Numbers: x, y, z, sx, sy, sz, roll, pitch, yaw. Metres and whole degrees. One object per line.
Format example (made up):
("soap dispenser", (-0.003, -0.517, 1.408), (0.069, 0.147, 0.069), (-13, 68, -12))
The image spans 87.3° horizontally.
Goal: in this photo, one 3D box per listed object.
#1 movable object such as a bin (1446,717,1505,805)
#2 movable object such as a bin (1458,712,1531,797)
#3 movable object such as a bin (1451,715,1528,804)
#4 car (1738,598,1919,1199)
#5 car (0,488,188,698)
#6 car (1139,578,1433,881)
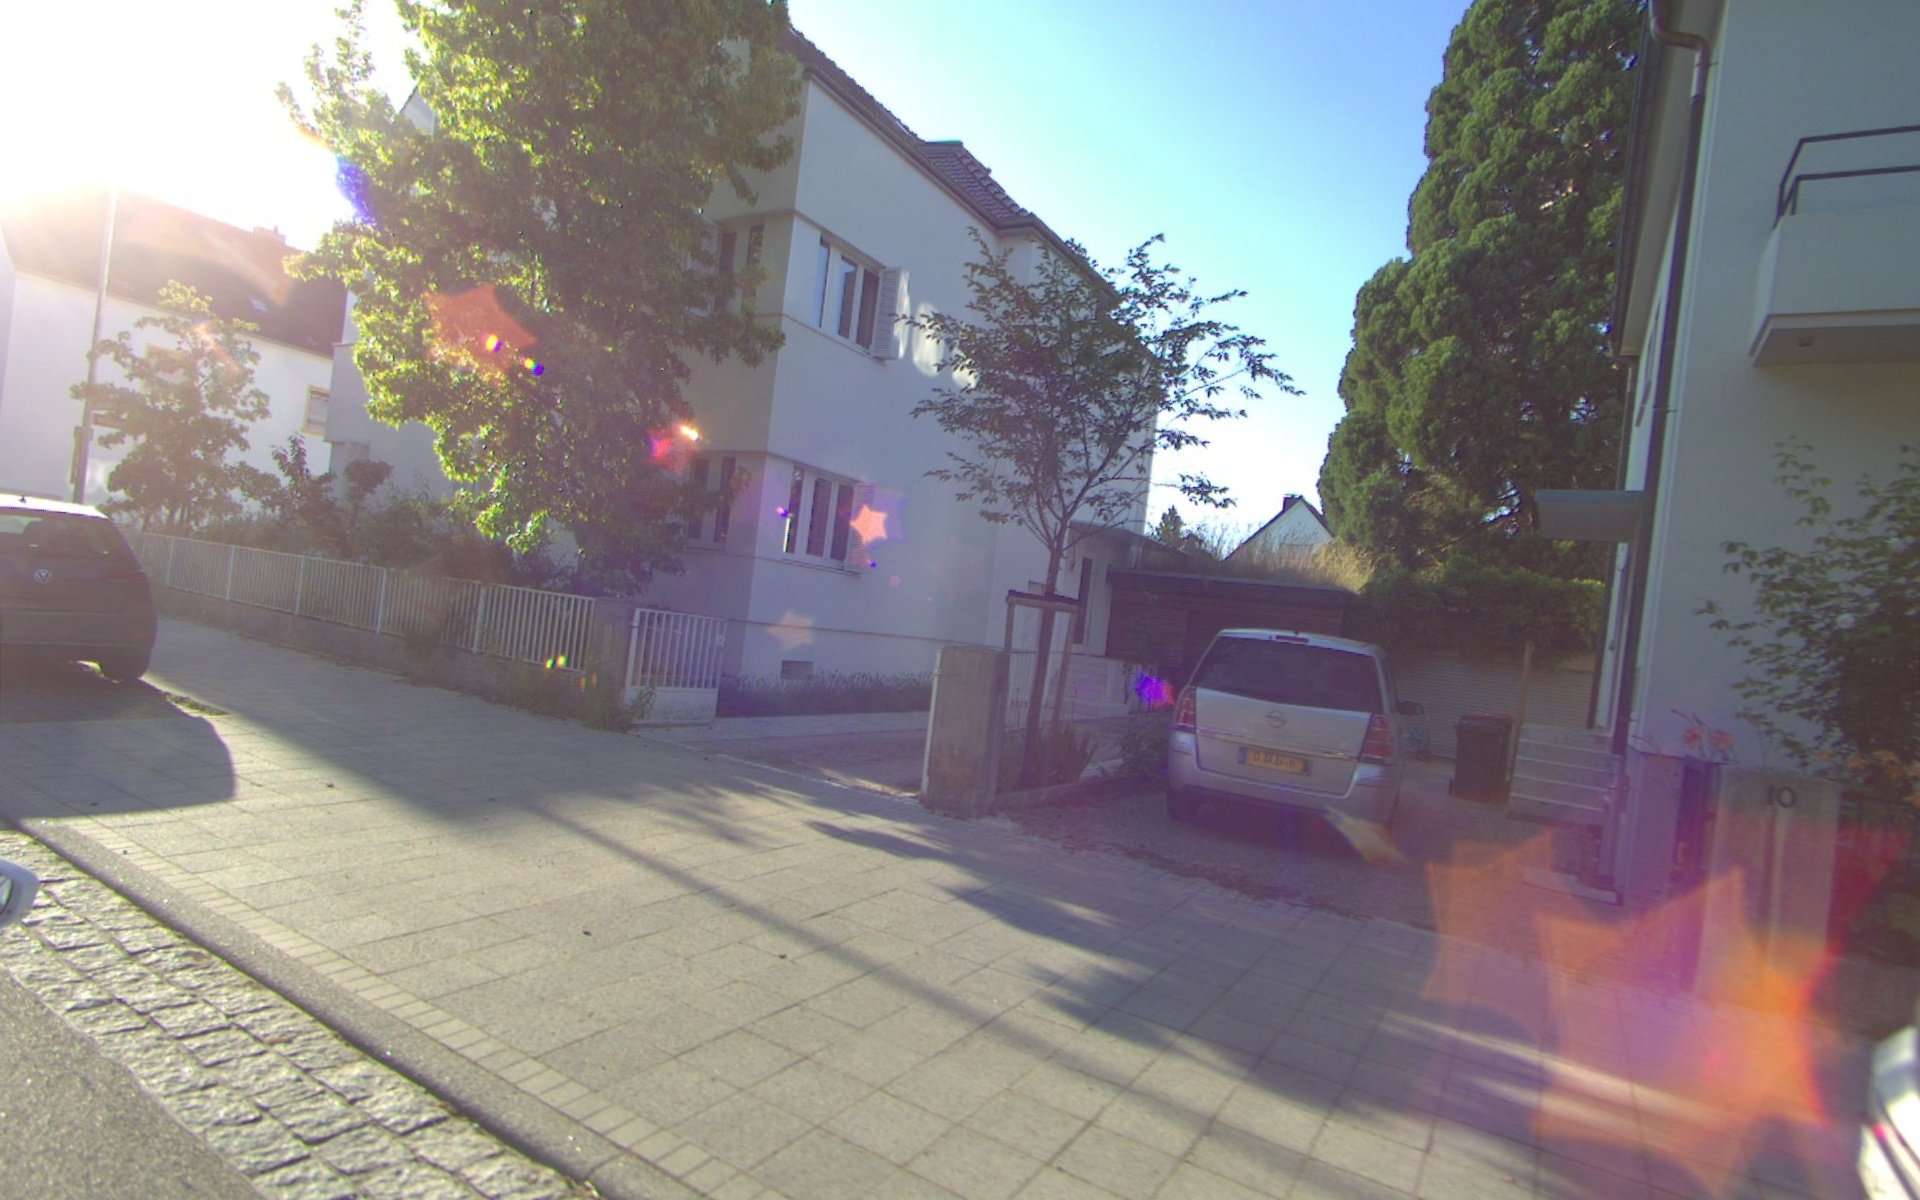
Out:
("movable object such as a bin", (6.201, 1.927, 12.098), (0.498, 0.956, 0.508), (7, -2, 32))
("movable object such as a bin", (7.008, 2.009, 13.181), (0.721, 0.970, 0.653), (6, -2, 32))
("movable object such as a bin", (6.637, 1.978, 12.603), (0.721, 0.970, 0.653), (6, -2, 32))
("car", (3.695, 1.086, 0.847), (4.501, 1.730, 1.906), (7, 1, 33))
("car", (-8.606, -0.228, 8.653), (4.056, 1.502, 1.795), (7, 1, 33))
("car", (3.121, 1.083, 8.988), (1.783, 1.865, 3.998), (8, -3, 26))
